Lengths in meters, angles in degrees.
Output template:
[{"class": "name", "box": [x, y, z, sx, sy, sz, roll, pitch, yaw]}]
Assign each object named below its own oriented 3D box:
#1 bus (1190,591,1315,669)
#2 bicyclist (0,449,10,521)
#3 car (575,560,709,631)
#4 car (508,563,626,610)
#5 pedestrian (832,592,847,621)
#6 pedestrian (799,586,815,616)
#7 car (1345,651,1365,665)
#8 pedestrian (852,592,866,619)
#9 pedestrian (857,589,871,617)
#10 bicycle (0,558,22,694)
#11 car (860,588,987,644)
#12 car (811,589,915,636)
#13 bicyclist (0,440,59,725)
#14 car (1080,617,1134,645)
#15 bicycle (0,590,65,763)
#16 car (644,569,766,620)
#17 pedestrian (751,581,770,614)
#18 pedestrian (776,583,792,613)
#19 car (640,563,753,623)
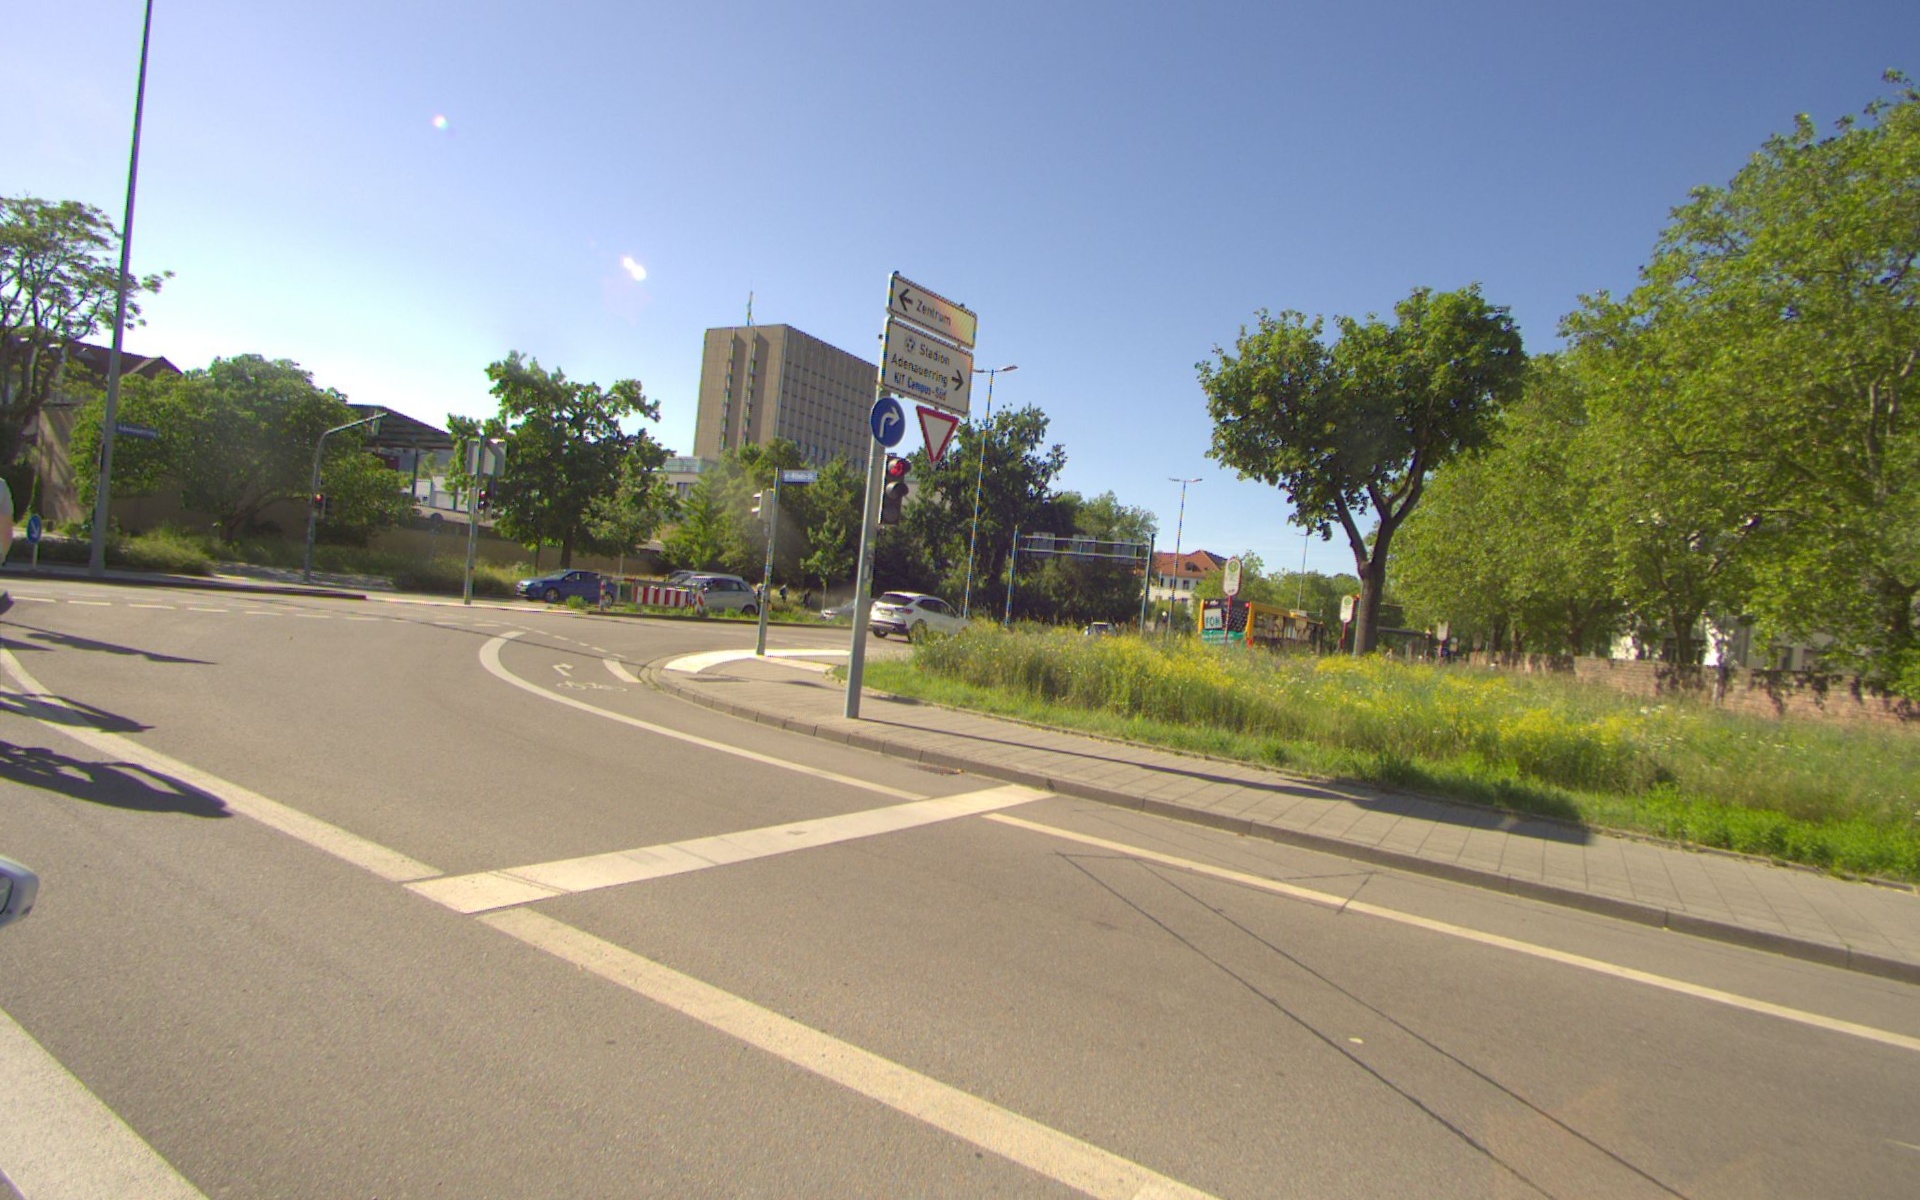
[{"class": "bus", "box": [14.280, 1.574, 48.372, 2.752, 2.662, 10.096, 6, -2, 33]}, {"class": "bicyclist", "box": [-8.139, -0.375, 7.792, 1.048, 1.759, 0.647, 7, -1, 26]}, {"class": "car", "box": [-12.744, -0.124, 40.633, 1.969, 2.186, 4.783, 6, -2, 35]}, {"class": "car", "box": [-16.091, -0.518, 41.353, 1.717, 1.453, 4.162, 7, 0, 38]}, {"class": "pedestrian", "box": [-7.897, 0.437, 65.880, 0.519, 1.801, 0.561, 7, 1, 35]}, {"class": "pedestrian", "box": [-9.491, 0.081, 62.360, 0.519, 1.801, 0.561, 7, 1, 35]}, {"class": "car", "box": [48.541, 7.145, 123.587, 1.812, 1.405, 4.066, 4, -2, 27]}, {"class": "pedestrian", "box": [-6.843, 0.361, 67.942, 0.519, 1.716, 0.561, 7, 1, 35]}, {"class": "pedestrian", "box": [-6.431, 0.185, 67.384, 0.519, 1.801, 0.561, 7, 1, 35]}, {"class": "bicycle", "box": [-8.205, 0.087, 7.787, 1.935, 1.014, 0.661, 6, -1, 26]}, {"class": "car", "box": [-1.182, 0.600, 35.006, 1.817, 1.639, 4.684, 3, -1, 36]}, {"class": "car", "box": [-4.249, 0.585, 44.812, 1.968, 1.604, 4.736, 6, 0, 33]}, {"class": "bicyclist", "box": [-6.229, -0.161, 6.102, 1.000, 1.688, 0.752, 6, -1, 33]}, {"class": "car", "box": [10.498, 2.220, 71.656, 1.968, 1.547, 4.473, 6, 0, 34]}, {"class": "bicycle", "box": [-6.299, 0.371, 6.103, 1.946, 0.906, 0.741, 6, -2, 33]}, {"class": "car", "box": [-9.433, -0.194, 37.442, 1.840, 1.426, 4.046, 6, 0, 38]}, {"class": "pedestrian", "box": [-11.621, -0.147, 58.551, 0.702, 1.872, 0.561, 7, 1, 35]}, {"class": "pedestrian", "box": [-10.914, -0.102, 62.330, 0.519, 1.801, 0.561, 7, 1, 35]}, {"class": "car", "box": [-12.310, -0.277, 47.343, 1.968, 2.131, 4.885, 6, -2, 34]}]
